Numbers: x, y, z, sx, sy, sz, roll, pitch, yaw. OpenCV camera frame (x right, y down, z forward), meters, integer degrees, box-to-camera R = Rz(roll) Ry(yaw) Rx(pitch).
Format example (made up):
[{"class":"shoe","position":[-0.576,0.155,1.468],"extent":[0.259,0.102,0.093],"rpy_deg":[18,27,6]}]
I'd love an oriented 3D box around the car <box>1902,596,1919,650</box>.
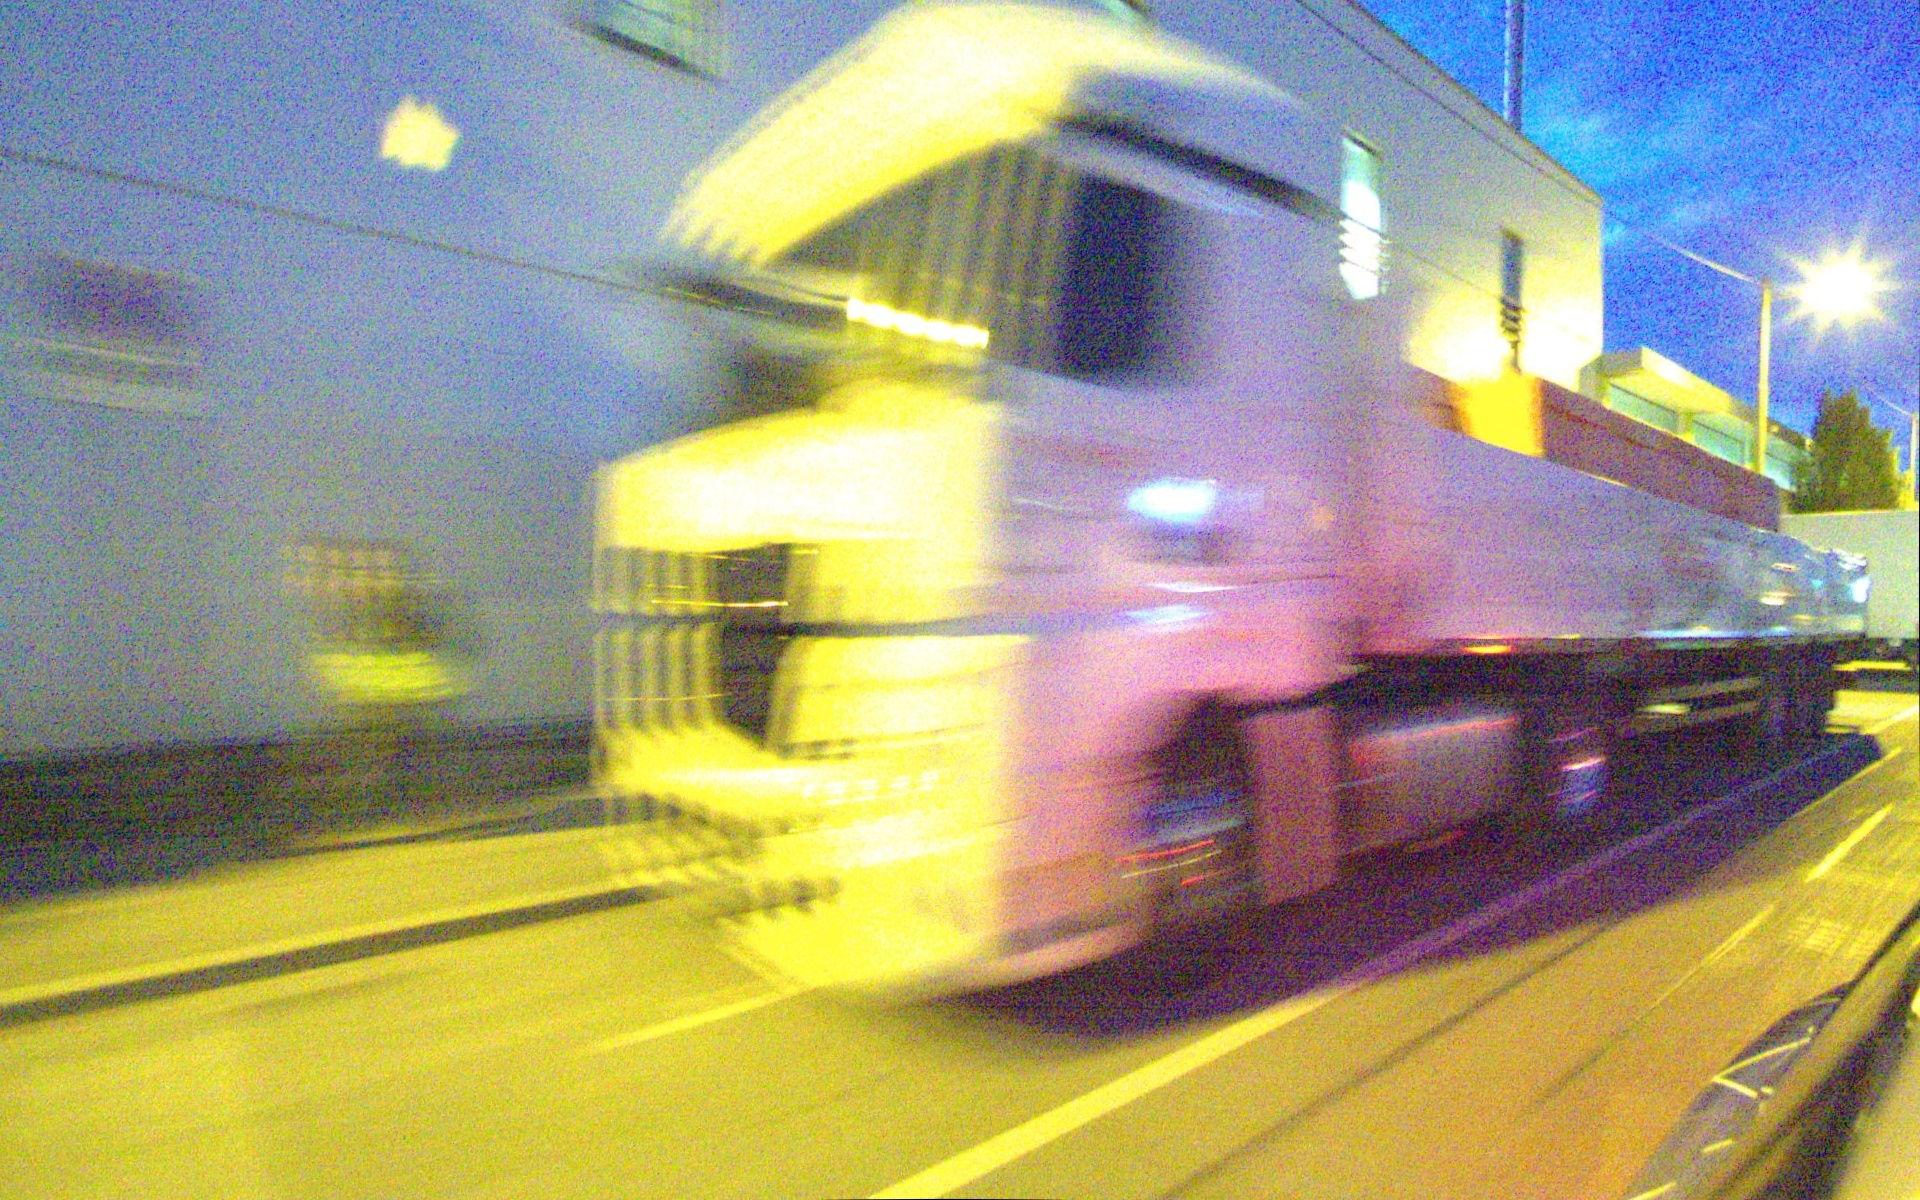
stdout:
[{"class":"car","position":[29.730,0.685,30.411],"extent":[3.414,1.580,1.684],"rpy_deg":[0,1,-40]}]

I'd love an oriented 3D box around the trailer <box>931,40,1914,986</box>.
[{"class":"trailer","position":[6.202,-0.396,9.796],"extent":[14.396,3.811,2.771],"rpy_deg":[0,0,-40]}]

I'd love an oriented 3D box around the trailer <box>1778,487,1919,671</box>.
[{"class":"trailer","position":[21.262,-0.405,22.805],"extent":[8.136,3.568,2.884],"rpy_deg":[0,1,-40]}]

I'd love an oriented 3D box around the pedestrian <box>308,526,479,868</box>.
[{"class":"pedestrian","position":[-3.009,0.460,5.373],"extent":[0.677,1.669,0.575],"rpy_deg":[0,2,-41]}]

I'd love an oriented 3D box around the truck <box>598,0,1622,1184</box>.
[{"class":"truck","position":[1.097,-0.350,5.465],"extent":[5.135,3.811,2.771],"rpy_deg":[0,0,-40]}]
